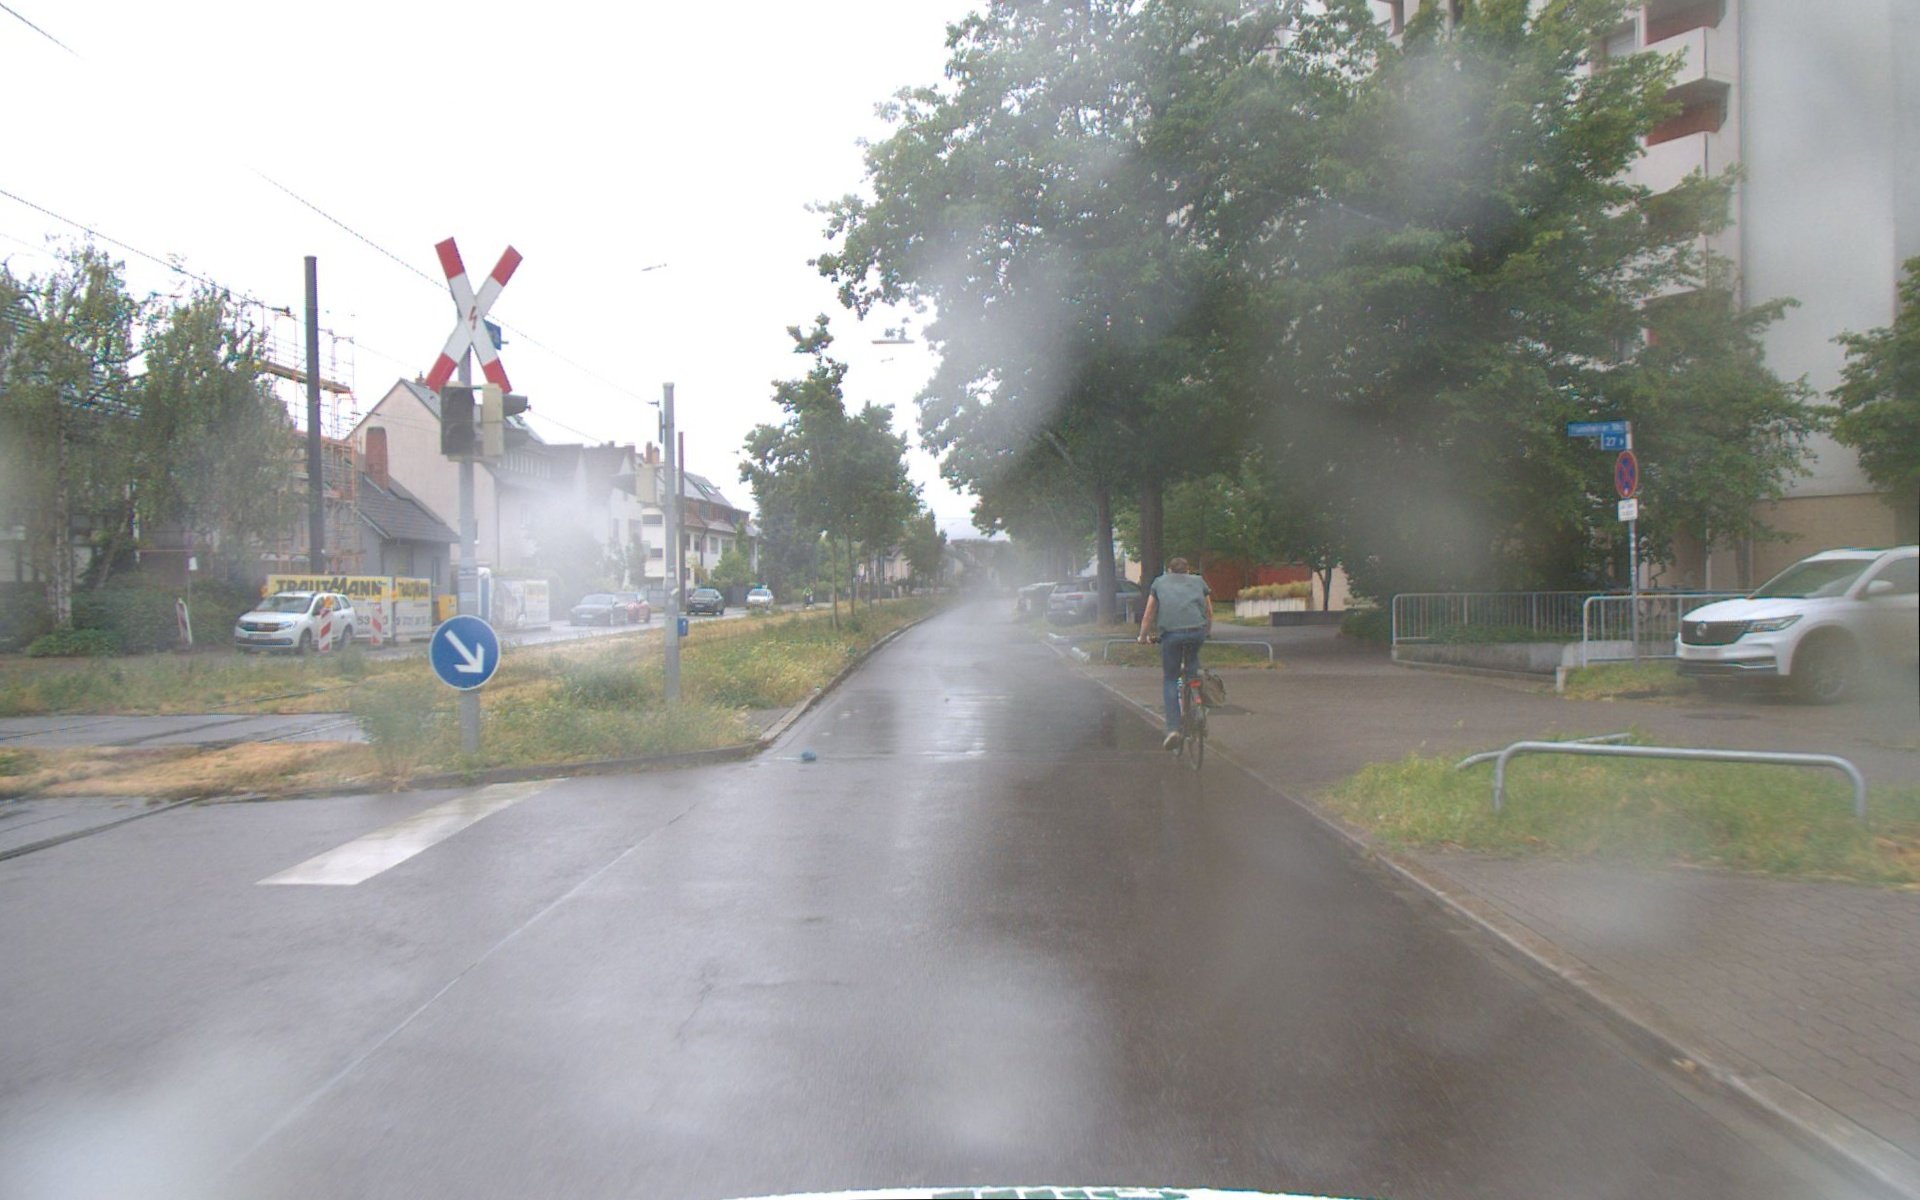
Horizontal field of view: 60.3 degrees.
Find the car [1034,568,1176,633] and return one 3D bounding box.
[{"bbox_3d":[4.639,-0.003,52.650,4.095,1.749,1.978,-4,2,-32],"label":"car"}]

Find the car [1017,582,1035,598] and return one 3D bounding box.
[{"bbox_3d":[6.887,-1.049,173.529,1.795,1.614,4.001,-1,0,1],"label":"car"}]

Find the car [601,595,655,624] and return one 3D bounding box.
[{"bbox_3d":[-15.574,0.425,77.669,1.640,1.266,3.856,1,1,1],"label":"car"}]

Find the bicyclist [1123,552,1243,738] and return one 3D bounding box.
[{"bbox_3d":[1.824,0.354,13.692,0.793,1.458,1.060,-2,0,-2],"label":"bicyclist"}]

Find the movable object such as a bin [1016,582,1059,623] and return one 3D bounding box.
[{"bbox_3d":[3.099,0.088,66.192,1.109,1.482,1.393,-7,2,-20],"label":"movable object such as a bin"}]

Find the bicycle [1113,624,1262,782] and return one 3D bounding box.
[{"bbox_3d":[1.842,0.798,13.768,0.793,1.116,2.516,-2,0,-2],"label":"bicycle"}]

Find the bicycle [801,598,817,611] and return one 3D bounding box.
[{"bbox_3d":[-12.733,0.368,139.722,0.997,1.045,3.197,-1,1,1],"label":"bicycle"}]

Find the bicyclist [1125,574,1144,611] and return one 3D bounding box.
[{"bbox_3d":[7.973,-0.345,75.479,0.719,1.621,0.944,-1,0,0],"label":"bicyclist"}]

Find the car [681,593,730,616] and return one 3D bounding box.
[{"bbox_3d":[-15.115,0.231,98.392,1.857,1.266,4.690,1,1,4],"label":"car"}]

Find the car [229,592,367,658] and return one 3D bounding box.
[{"bbox_3d":[-17.167,0.614,43.121,1.675,1.569,4.423,1,1,2],"label":"car"}]

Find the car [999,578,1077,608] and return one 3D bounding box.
[{"bbox_3d":[4.098,-0.370,86.490,3.996,1.468,1.565,-2,1,-36],"label":"car"}]

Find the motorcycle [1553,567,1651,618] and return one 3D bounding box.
[{"bbox_3d":[16.911,-0.187,43.617,0.876,1.311,2.273,-2,0,-37],"label":"motorcycle"}]

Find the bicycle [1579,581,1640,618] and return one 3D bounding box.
[{"bbox_3d":[16.554,-0.007,42.202,0.404,0.941,1.446,-2,0,-37],"label":"bicycle"}]

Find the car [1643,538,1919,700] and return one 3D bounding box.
[{"bbox_3d":[10.892,0.178,19.918,4.724,1.776,1.992,-1,0,-16],"label":"car"}]

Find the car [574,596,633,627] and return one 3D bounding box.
[{"bbox_3d":[-15.594,0.494,72.483,1.629,1.266,4.072,1,1,1],"label":"car"}]

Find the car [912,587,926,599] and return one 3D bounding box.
[{"bbox_3d":[-5.957,-1.077,239.868,1.805,1.701,4.001,-1,0,1],"label":"car"}]

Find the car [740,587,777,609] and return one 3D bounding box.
[{"bbox_3d":[-14.684,-0.172,120.625,1.857,1.495,4.690,1,1,4],"label":"car"}]

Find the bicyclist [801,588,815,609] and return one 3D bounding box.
[{"bbox_3d":[-12.757,-0.126,138.888,0.997,1.715,1.092,-1,0,1],"label":"bicyclist"}]
